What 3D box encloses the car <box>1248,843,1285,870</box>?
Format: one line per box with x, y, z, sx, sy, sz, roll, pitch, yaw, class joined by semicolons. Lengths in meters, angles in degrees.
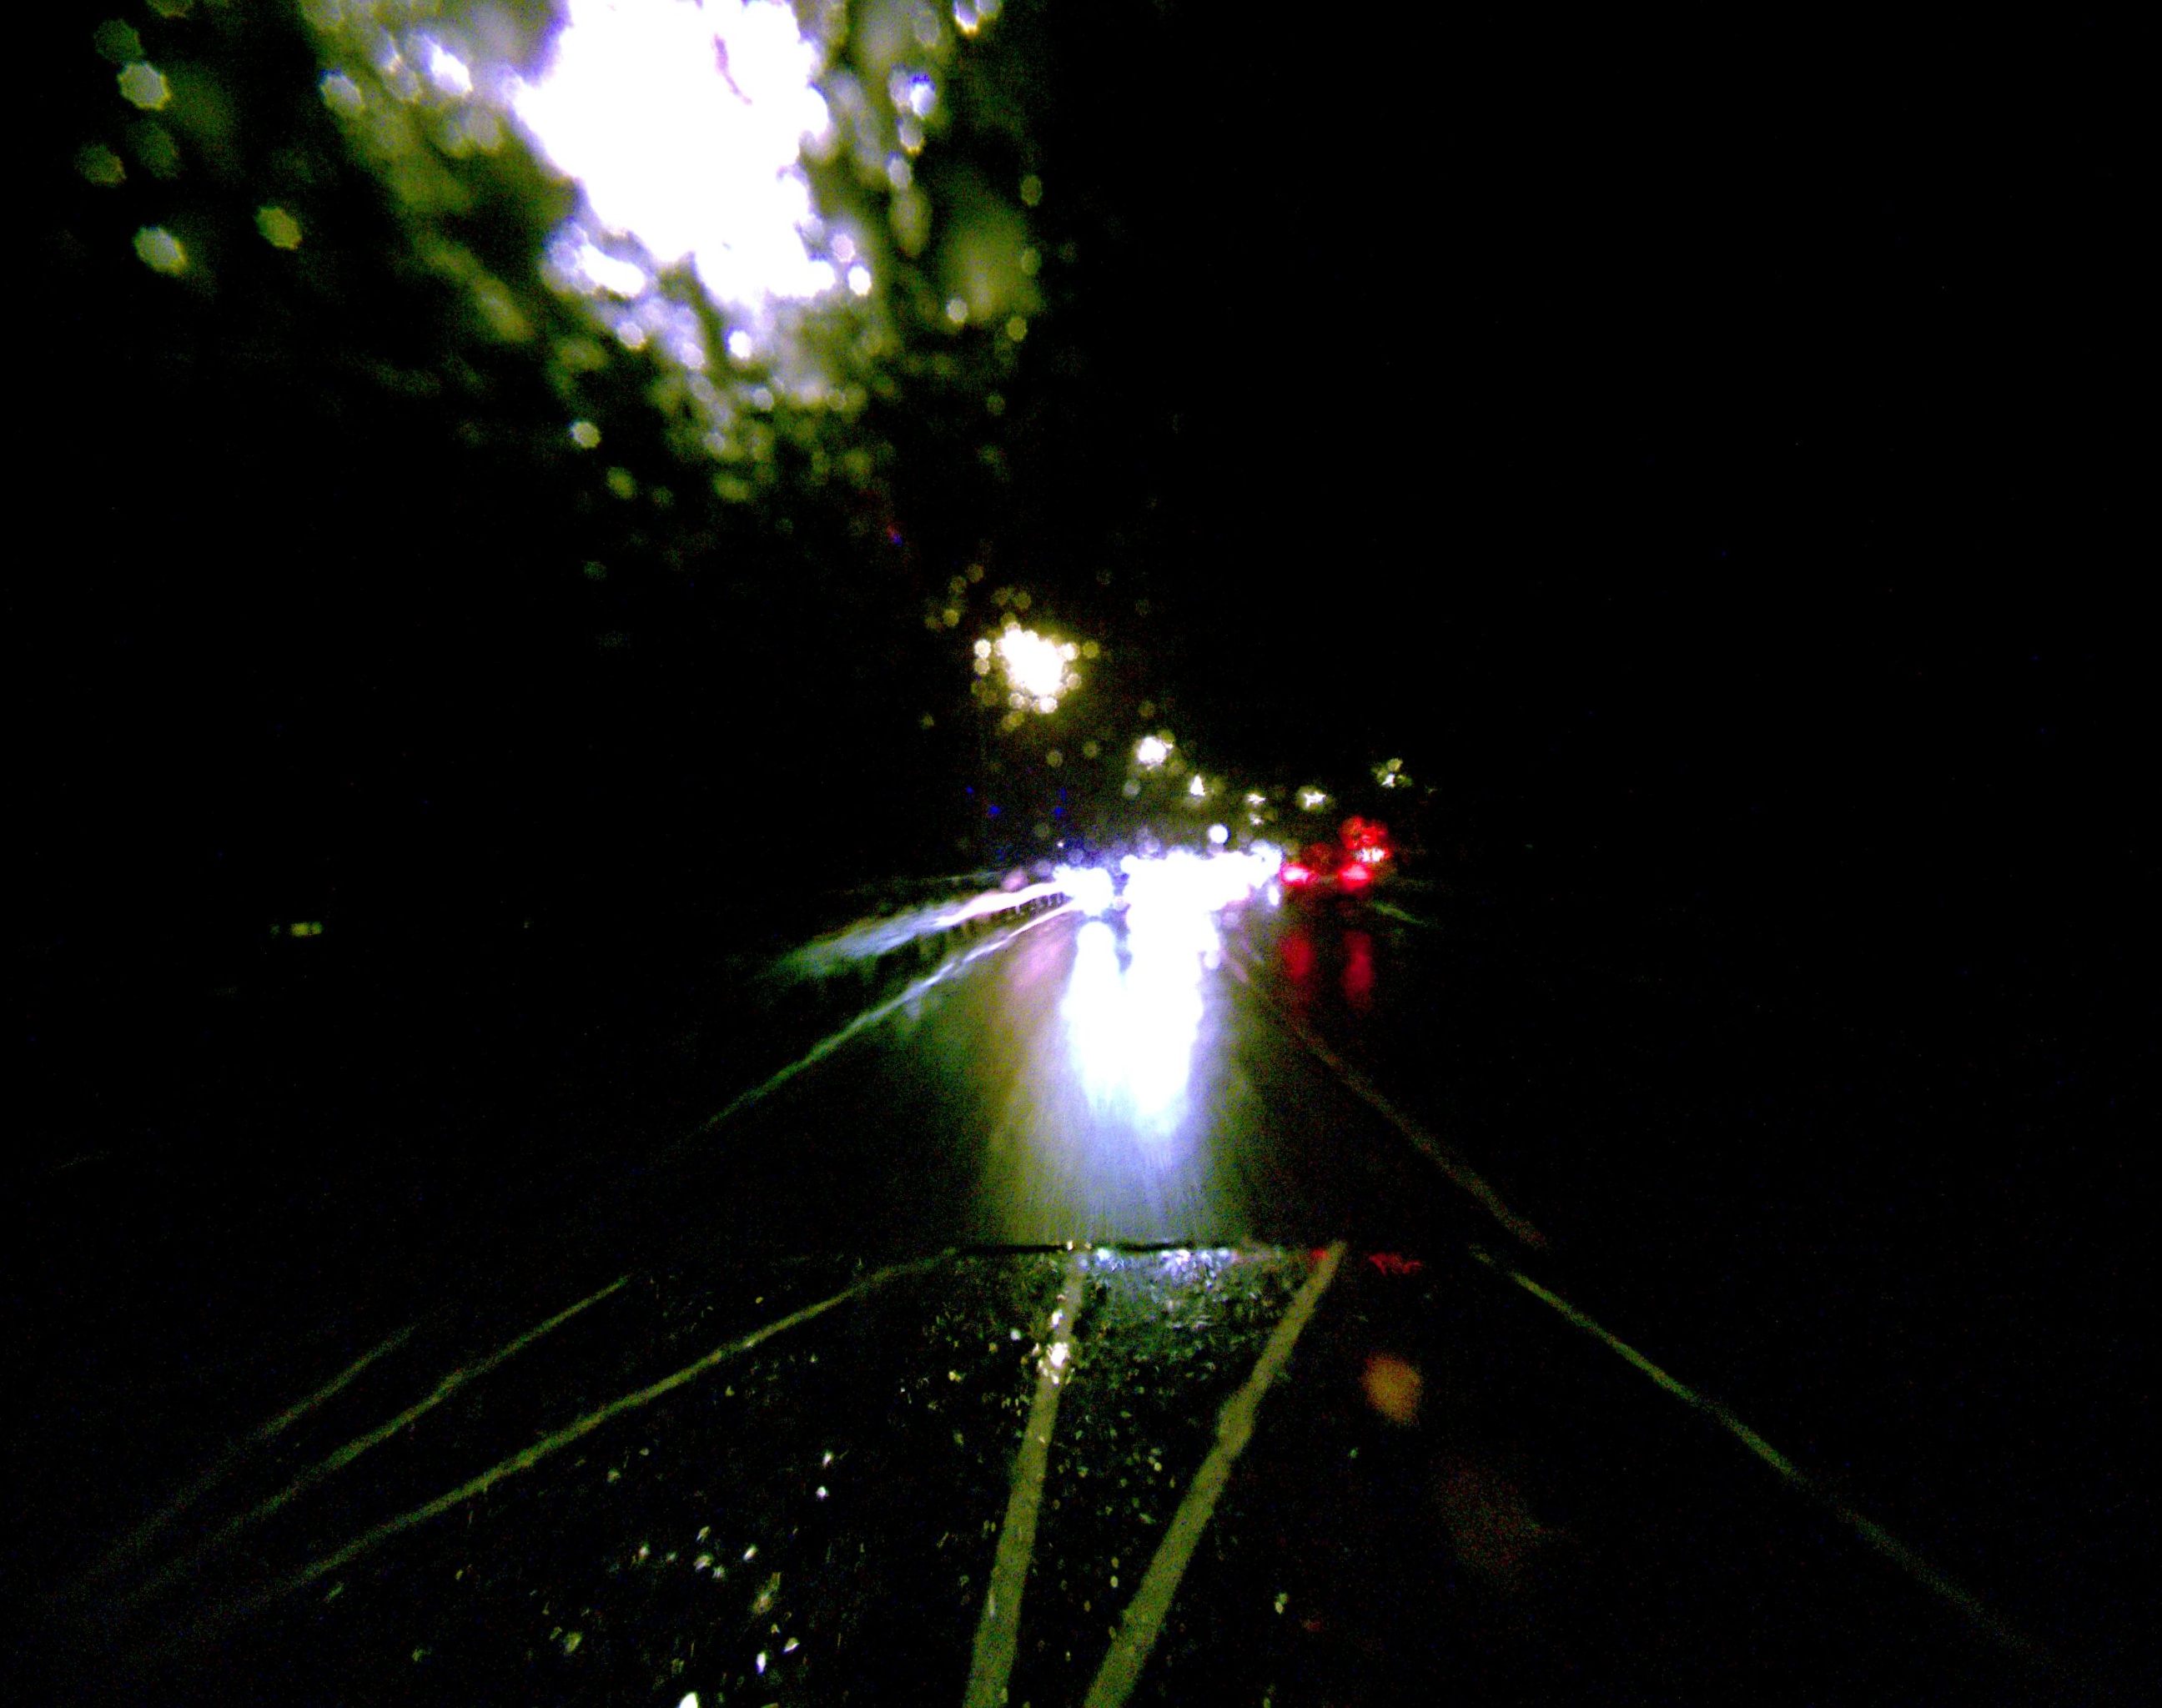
17.480;0.228;71.485;1.996;2.002;4.005;-8;0;32;car

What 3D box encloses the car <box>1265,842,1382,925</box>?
5.643;0.597;18.299;2.026;1.709;4.985;-1;0;10;car

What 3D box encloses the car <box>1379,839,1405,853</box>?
40.309;-0.954;98.490;2.000;1.664;4.627;-2;-2;37;car

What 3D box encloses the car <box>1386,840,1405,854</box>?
36.509;-0.759;88.104;1.472;1.575;3.197;-1;0;33;car

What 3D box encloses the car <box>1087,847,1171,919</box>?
1.378;0.714;20.085;1.926;1.704;4.242;0;-1;8;car

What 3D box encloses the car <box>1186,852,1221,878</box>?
7.548;0.677;46.655;1.520;1.516;3.111;-2;-1;19;car

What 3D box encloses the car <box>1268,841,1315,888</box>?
8.733;0.405;31.700;1.756;1.850;4.004;0;0;14;car

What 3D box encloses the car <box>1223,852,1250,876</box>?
11.399;0.732;55.561;1.303;1.520;3.050;-6;0;22;car

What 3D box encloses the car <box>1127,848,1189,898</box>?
3.427;0.779;33.163;1.996;2.002;4.004;-2;0;15;car

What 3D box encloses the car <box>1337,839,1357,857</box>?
29.281;-0.677;83.685;1.544;2.002;4.007;-1;1;27;car
